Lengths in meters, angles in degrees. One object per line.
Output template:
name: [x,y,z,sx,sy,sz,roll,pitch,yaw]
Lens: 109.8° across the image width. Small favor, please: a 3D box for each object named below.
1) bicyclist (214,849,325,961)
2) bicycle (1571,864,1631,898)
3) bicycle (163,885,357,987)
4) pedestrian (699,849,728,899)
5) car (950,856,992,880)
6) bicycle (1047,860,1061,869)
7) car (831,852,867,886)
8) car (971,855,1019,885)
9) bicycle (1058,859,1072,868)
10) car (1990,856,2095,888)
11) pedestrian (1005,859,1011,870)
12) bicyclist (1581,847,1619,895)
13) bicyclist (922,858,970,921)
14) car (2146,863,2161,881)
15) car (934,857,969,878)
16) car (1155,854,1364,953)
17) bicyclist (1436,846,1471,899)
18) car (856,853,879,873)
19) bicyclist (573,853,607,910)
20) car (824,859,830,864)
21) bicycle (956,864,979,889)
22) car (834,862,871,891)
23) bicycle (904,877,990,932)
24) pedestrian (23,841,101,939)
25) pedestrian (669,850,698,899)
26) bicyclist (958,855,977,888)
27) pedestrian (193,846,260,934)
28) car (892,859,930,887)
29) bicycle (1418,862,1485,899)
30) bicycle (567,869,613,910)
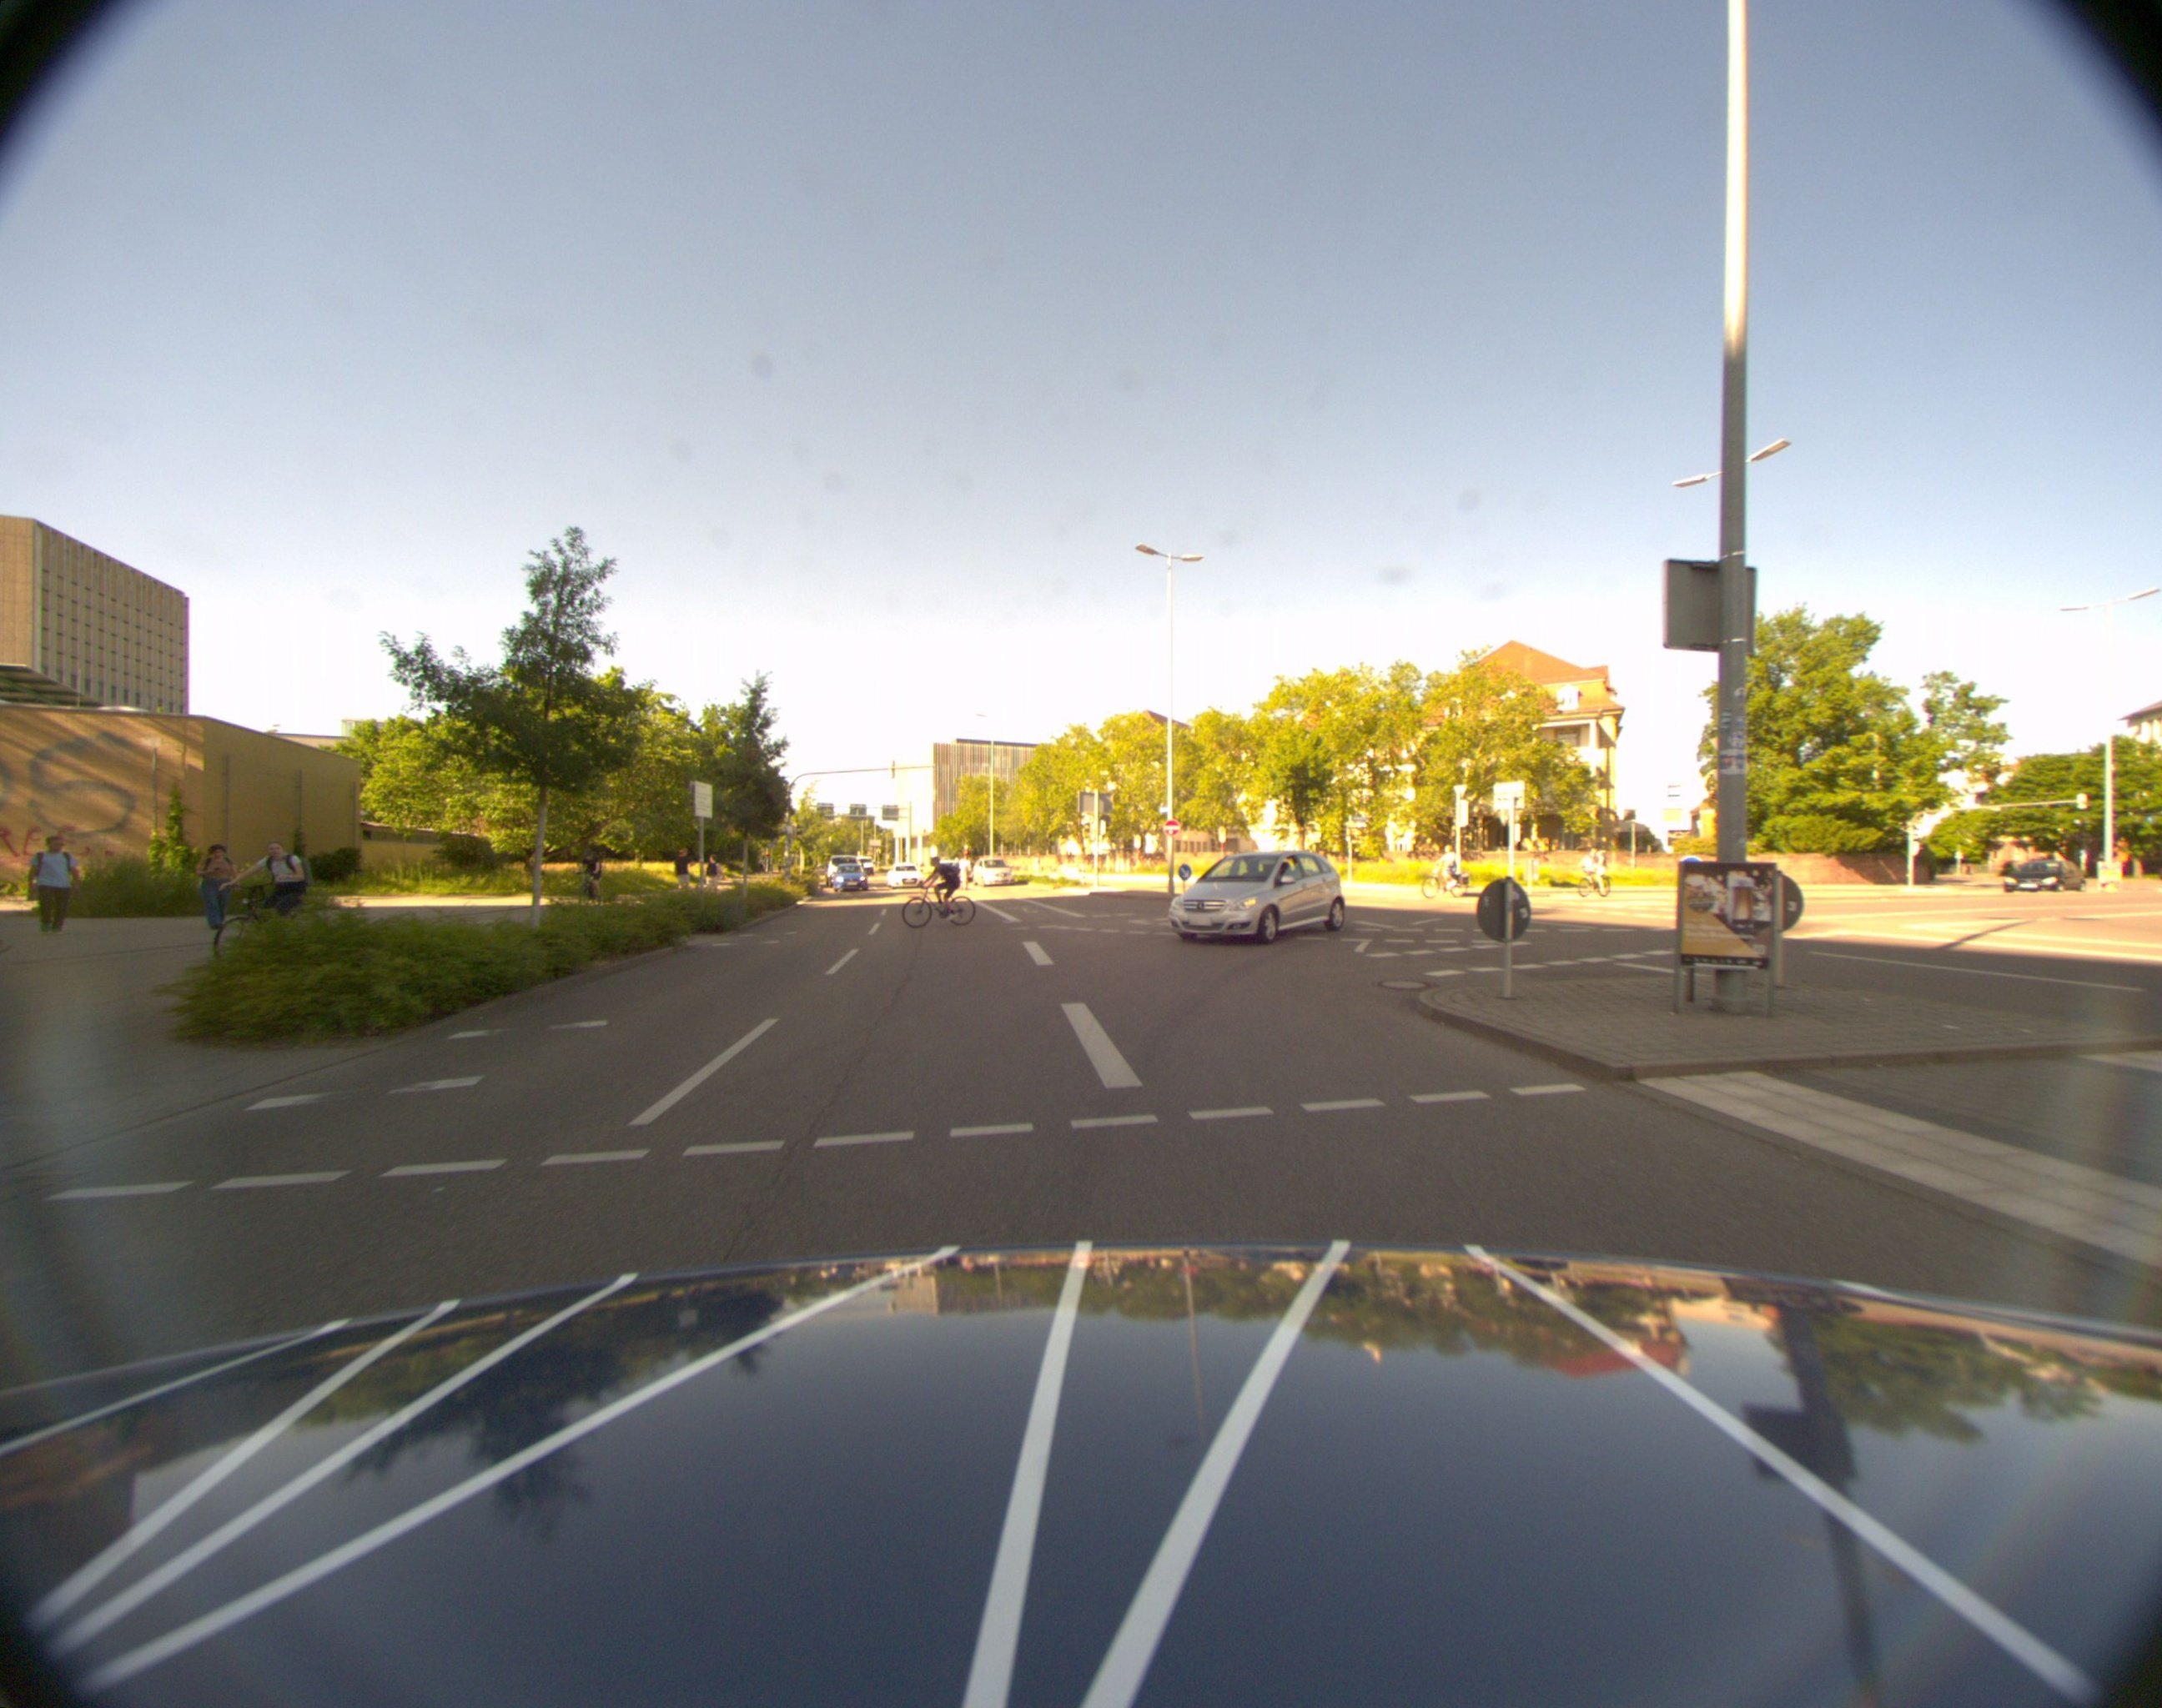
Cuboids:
bicyclist: [-10.847,0.660,10.181,0.643,1.436,0.776,2,0,-5]
bicycle: [18.261,0.938,26.667,1.970,1.158,0.777,0,-1,-23]
bicycle: [-10.860,1.037,10.163,0.643,1.158,1.869,2,0,-5]
pedestrian: [-13.458,0.739,27.848,0.731,1.805,0.736,-1,-2,-5]
car: [-7.631,0.960,52.198,1.985,1.545,4.716,-1,0,-19]
bicycle: [-3.523,1.343,98.963,0.797,1.069,2.080,1,-3,-38]
car: [-14.321,0.912,46.802,1.941,1.941,4.749,-2,0,-19]
car: [-4.993,0.892,43.731,1.791,1.615,4.309,-1,0,-19]
bicycle: [-2.048,1.246,97.149,0.797,1.069,2.080,1,-3,-38]
car: [45.935,0.872,36.297,4.303,1.464,1.997,0,-2,-23]
pedestrian: [-10.133,1.485,105.617,0.654,1.601,0.557,0,-2,-25]
bicyclist: [18.193,0.586,26.652,0.777,1.653,0.784,-1,0,-23]
bicyclist: [-3.181,0.823,17.901,0.954,1.436,0.642,-1,0,-23]
car: [110.653,1.831,76.292,3.792,1.805,2.003,0,0,20]
car: [-10.142,1.010,59.281,1.985,1.545,4.716,-1,0,-19]
car: [3.535,0.831,14.410,1.767,1.584,4.649,-1,-1,43]
bicyclist: [11.991,0.587,24.470,0.777,1.653,0.642,-1,0,-13]
car: [-22.051,0.942,78.321,1.941,1.941,4.524,-2,0,-20]
bicyclist: [-14.482,0.797,22.419,0.644,1.635,0.775,0,0,-16]
car: [-81.531,2.476,243.791,1.695,1.583,3.593,-1,0,-20]
bicycle: [-5.824,1.129,38.892,0.749,1.158,1.866,0,1,-21]
car: [-12.201,1.147,40.424,1.706,1.433,3.994,-1,0,-19]
bicycle: [-3.162,1.170,17.904,1.872,1.158,0.642,-2,0,-23]
pedestrian: [-17.608,0.622,13.133,0.734,1.633,0.679,-2,-2,29]
pedestrian: [-14.556,0.762,27.846,0.731,1.771,0.736,-1,-2,-5]
bicyclist: [-5.790,0.885,38.796,0.747,1.675,0.976,0,1,-21]
pedestrian: [-16.320,0.690,14.515,0.734,1.633,0.679,-2,-2,27]
car: [-9.852,1.048,43.741,2.001,1.460,3.995,0,0,-14]
bicycle: [11.914,0.842,24.456,1.968,1.158,0.642,0,-1,-12]
bicycle: [-14.503,1.019,22.485,0.643,1.158,1.867,0,0,-16]
